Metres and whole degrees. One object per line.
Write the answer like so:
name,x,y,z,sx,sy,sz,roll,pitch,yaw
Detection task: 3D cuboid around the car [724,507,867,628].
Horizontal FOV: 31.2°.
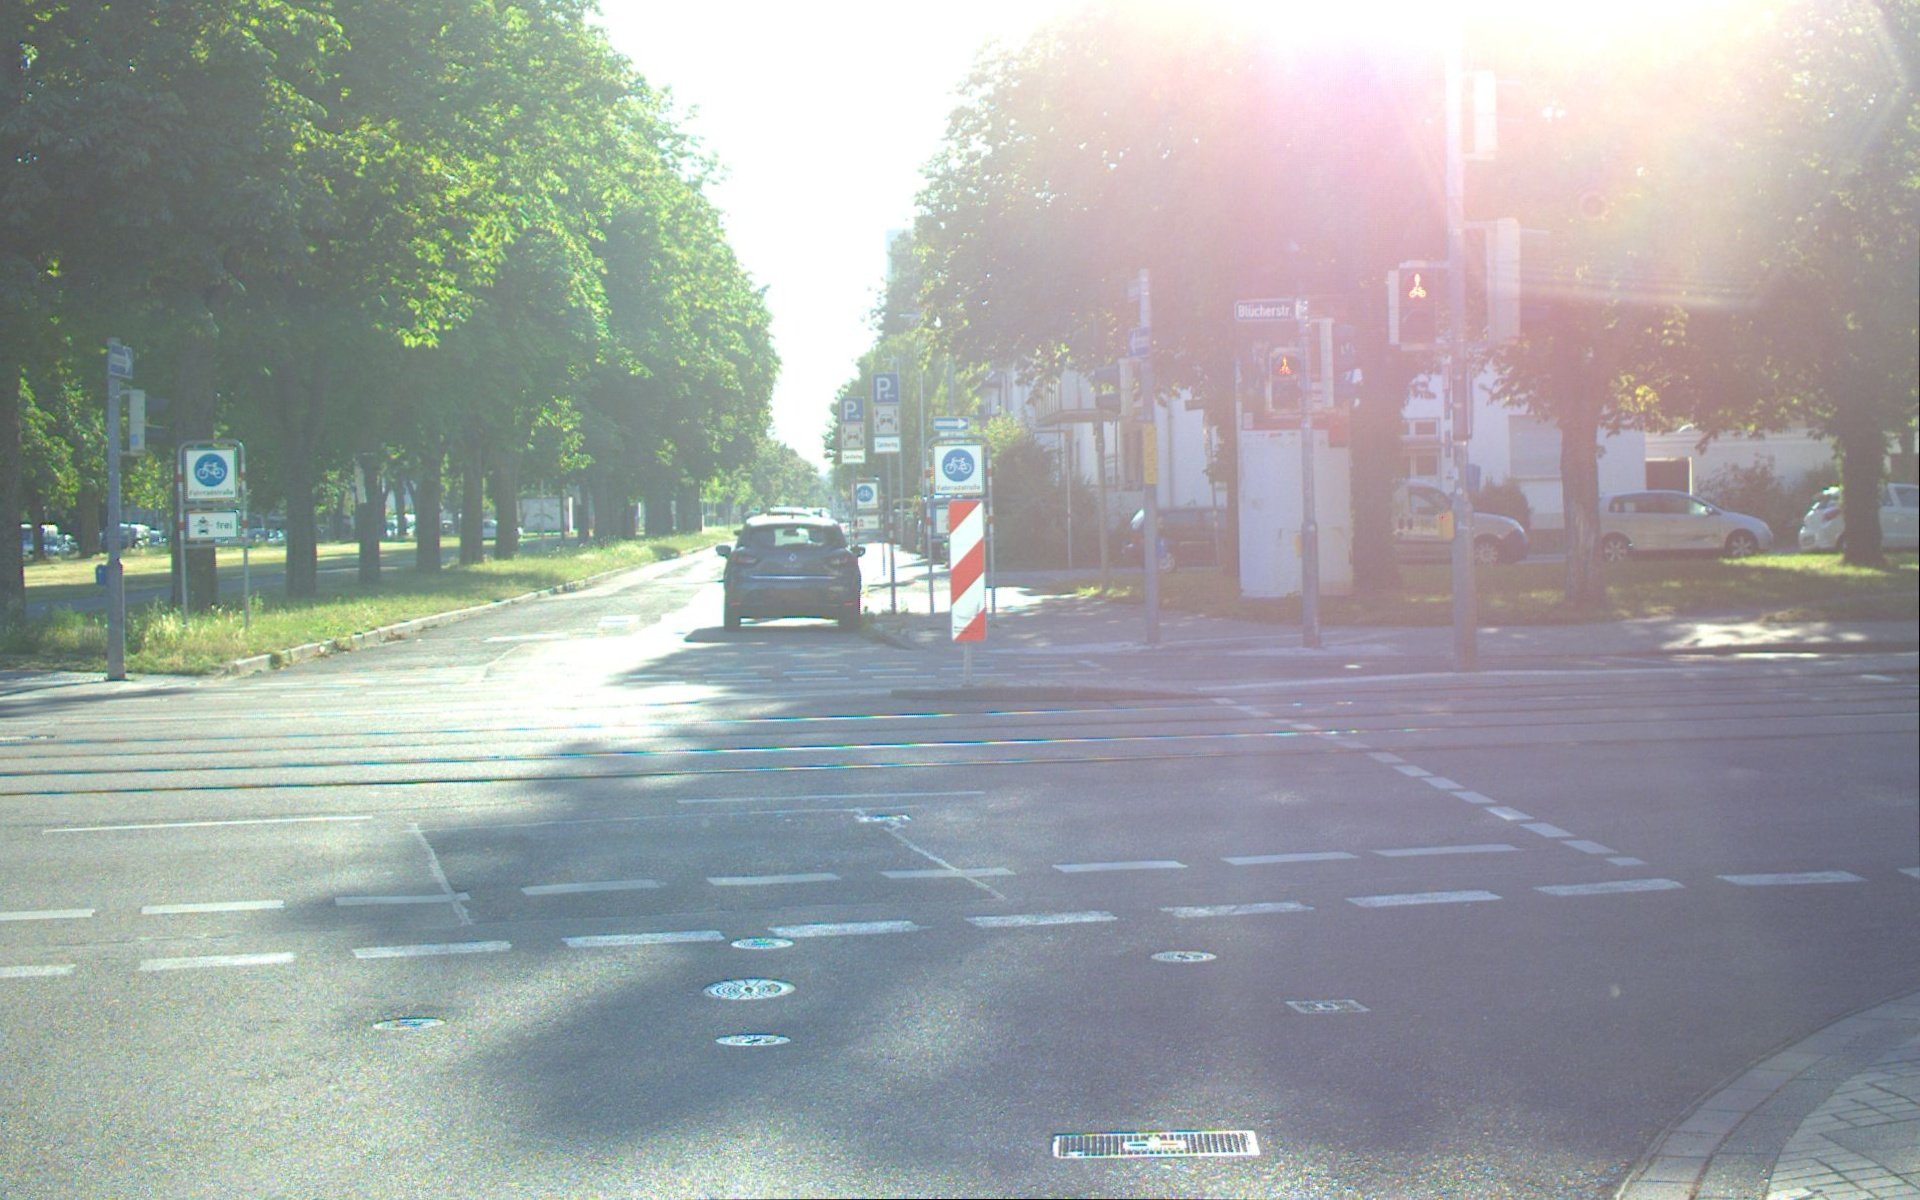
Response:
car,-2.066,-0.441,43.872,1.641,1.446,3.307,-1,2,0

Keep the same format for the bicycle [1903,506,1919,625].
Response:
bicycle,10.083,-0.354,32.845,1.954,1.128,0.620,-1,1,1

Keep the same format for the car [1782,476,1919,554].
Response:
car,17.926,-1.648,66.015,3.844,1.422,1.598,-1,1,-6

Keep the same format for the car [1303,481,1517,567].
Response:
car,8.521,-1.456,65.299,3.779,1.520,1.744,-1,3,-2

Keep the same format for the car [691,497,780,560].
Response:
car,-5.058,-1.636,77.792,1.845,1.389,3.829,-1,2,-1

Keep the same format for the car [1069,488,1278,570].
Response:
car,4.014,-1.349,64.974,3.779,1.422,1.744,-1,3,-2

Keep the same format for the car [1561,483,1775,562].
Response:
car,13.425,-1.472,65.245,3.662,1.422,1.532,-1,1,-6
